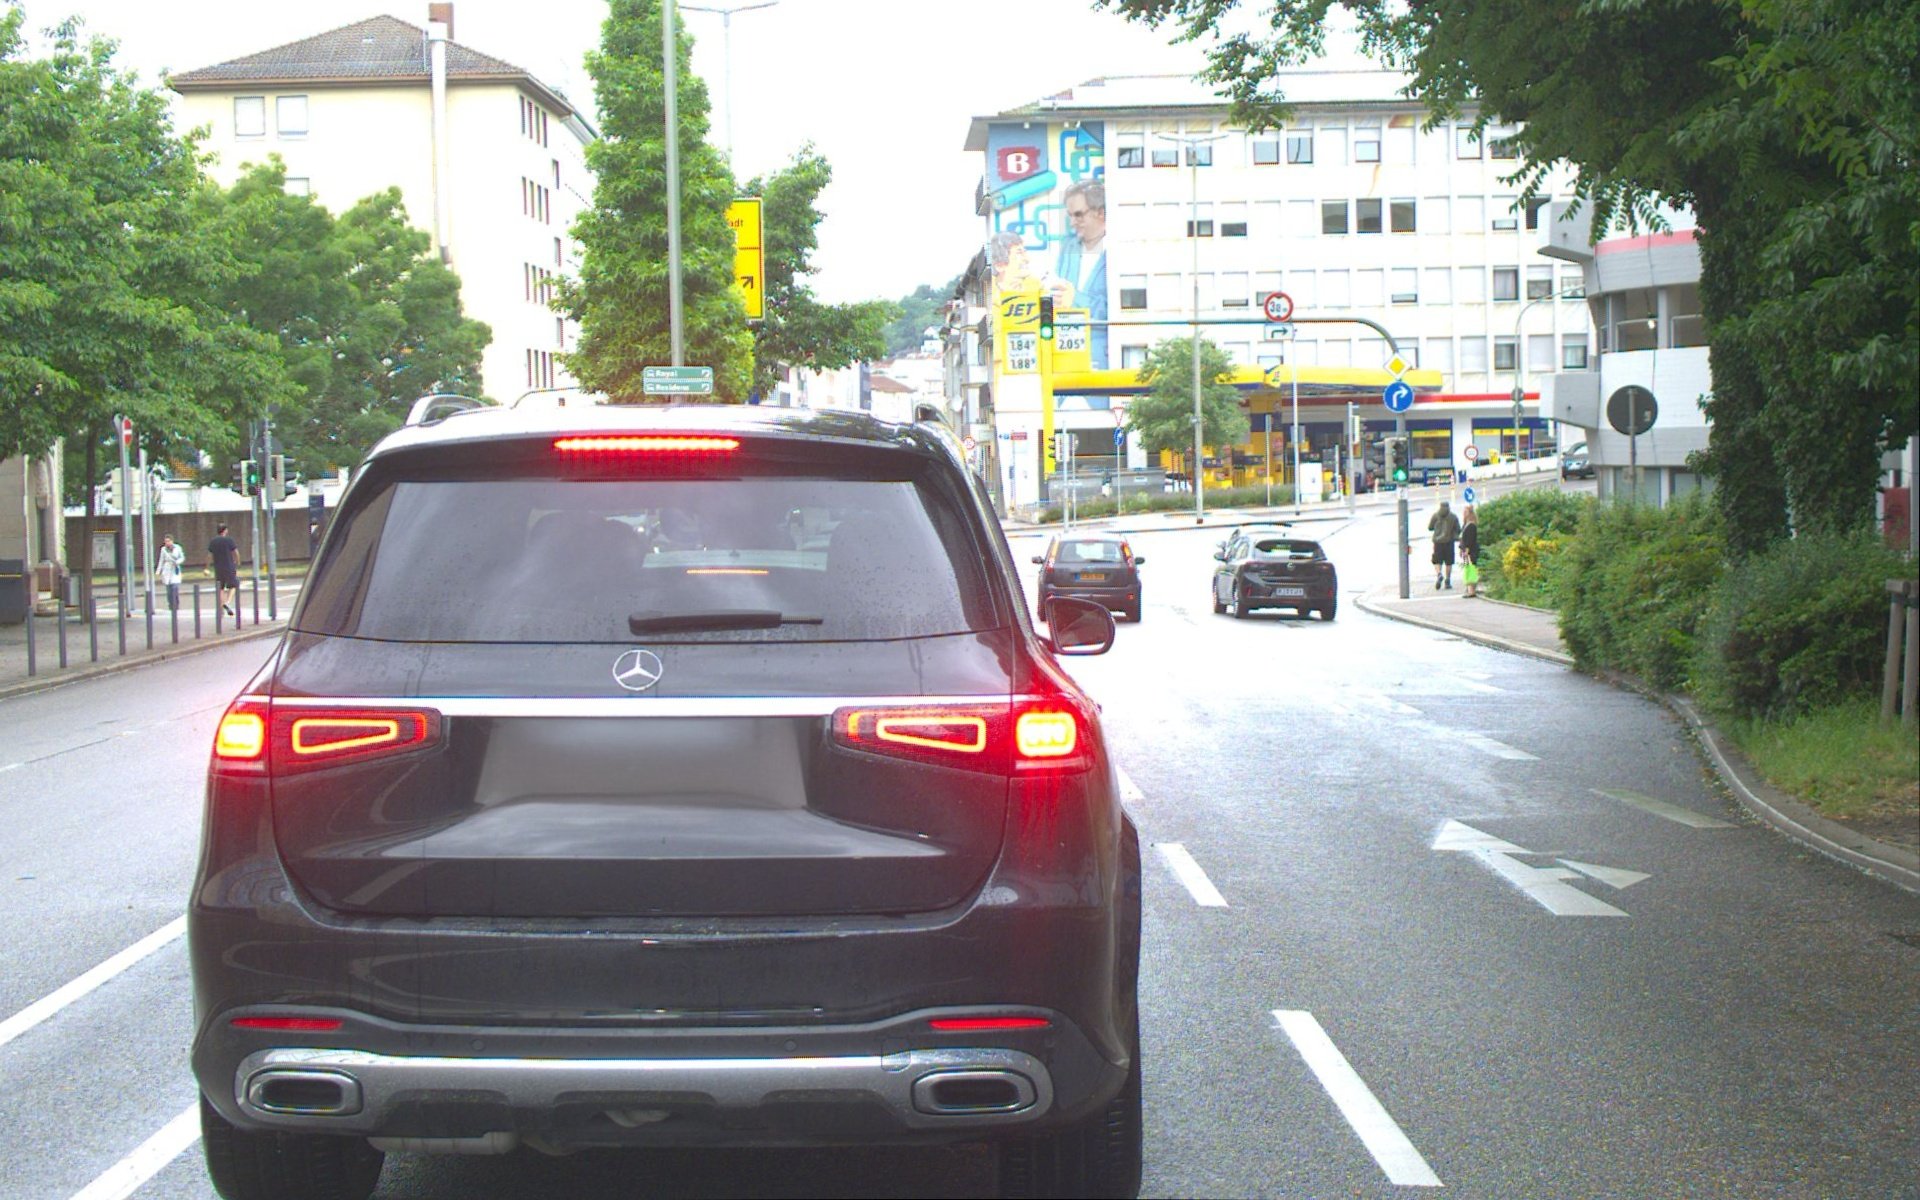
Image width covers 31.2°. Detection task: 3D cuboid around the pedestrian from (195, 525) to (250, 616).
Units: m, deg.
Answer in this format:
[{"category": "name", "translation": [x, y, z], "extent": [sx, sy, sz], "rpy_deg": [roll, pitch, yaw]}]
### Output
[{"category": "pedestrian", "translation": [-14.037, -0.560, 65.448], "extent": [0.946, 1.699, 0.713], "rpy_deg": [1, 0, -17]}]

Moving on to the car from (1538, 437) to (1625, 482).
[{"category": "car", "translation": [25.015, -5.666, 138.225], "extent": [1.997, 1.700, 3.993], "rpy_deg": [0, 2, 33]}]

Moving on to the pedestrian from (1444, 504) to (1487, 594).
[{"category": "pedestrian", "translation": [9.598, -0.961, 65.276], "extent": [0.646, 1.704, 0.470], "rpy_deg": [1, 0, 36]}]

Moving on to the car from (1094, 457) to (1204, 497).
[{"category": "car", "translation": [7.051, -4.594, 128.506], "extent": [1.732, 1.371, 3.998], "rpy_deg": [-4, 3, -44]}]

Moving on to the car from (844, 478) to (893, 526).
[{"category": "car", "translation": [-4.011, -4.269, 150.577], "extent": [1.993, 2.007, 4.000], "rpy_deg": [1, 1, 0]}]

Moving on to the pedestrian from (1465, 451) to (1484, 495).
[{"category": "pedestrian", "translation": [20.442, -5.053, 136.662], "extent": [0.526, 1.721, 0.688], "rpy_deg": [0, 2, 26]}]

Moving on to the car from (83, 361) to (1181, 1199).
[{"category": "car", "translation": [-0.626, 0.454, 8.307], "extent": [1.993, 1.794, 4.000], "rpy_deg": [1, 1, -1]}]

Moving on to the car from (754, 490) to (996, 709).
[{"category": "car", "translation": [-0.733, -0.024, 30.673], "extent": [1.993, 1.794, 4.000], "rpy_deg": [1, 1, -1]}]

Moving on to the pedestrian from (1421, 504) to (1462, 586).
[{"category": "pedestrian", "translation": [9.940, -1.138, 70.969], "extent": [0.717, 1.684, 0.456], "rpy_deg": [1, 0, -6]}]

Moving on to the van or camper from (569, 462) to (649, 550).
[{"category": "van or camper", "translation": [-10.995, -2.923, 108.002], "extent": [2.101, 2.573, 5.909], "rpy_deg": [-3, 1, -3]}]

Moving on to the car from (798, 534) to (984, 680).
[{"category": "car", "translation": [-0.736, 0.054, 37.706], "extent": [1.907, 1.496, 4.000], "rpy_deg": [1, 1, -1]}]

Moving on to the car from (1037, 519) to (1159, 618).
[{"category": "car", "translation": [2.246, -0.557, 57.053], "extent": [1.796, 1.520, 4.056], "rpy_deg": [1, 2, -1]}]

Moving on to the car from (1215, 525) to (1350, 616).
[{"category": "car", "translation": [5.491, -0.512, 58.961], "extent": [1.946, 1.481, 4.000], "rpy_deg": [1, 1, 0]}]

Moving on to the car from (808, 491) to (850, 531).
[{"category": "car", "translation": [-6.754, -4.579, 177.711], "extent": [1.993, 2.007, 4.000], "rpy_deg": [1, 1, 0]}]

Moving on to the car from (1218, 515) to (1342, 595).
[{"category": "car", "translation": [6.512, -0.904, 69.575], "extent": [1.755, 1.543, 3.997], "rpy_deg": [1, 1, 16]}]

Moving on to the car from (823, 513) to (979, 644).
[{"category": "car", "translation": [-0.748, -0.285, 44.258], "extent": [1.907, 1.581, 4.000], "rpy_deg": [1, 1, -1]}]

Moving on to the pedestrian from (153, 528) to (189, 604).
[{"category": "pedestrian", "translation": [-17.356, -0.755, 75.633], "extent": [0.642, 1.660, 1.019], "rpy_deg": [1, 0, -6]}]

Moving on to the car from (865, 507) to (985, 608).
[{"category": "car", "translation": [-0.582, -0.703, 56.885], "extent": [1.907, 1.581, 4.000], "rpy_deg": [1, 1, -1]}]

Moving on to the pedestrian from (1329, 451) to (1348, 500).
[{"category": "pedestrian", "translation": [13.242, -4.346, 120.206], "extent": [0.572, 1.691, 0.631], "rpy_deg": [1, 0, 1]}]

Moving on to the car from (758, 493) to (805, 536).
[{"category": "car", "translation": [-7.476, -3.567, 143.805], "extent": [1.905, 1.697, 4.001], "rpy_deg": [1, 1, -3]}]

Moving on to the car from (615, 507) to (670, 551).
[{"category": "car", "translation": [-11.342, -2.531, 122.965], "extent": [1.797, 1.489, 3.804], "rpy_deg": [1, 1, -3]}]
